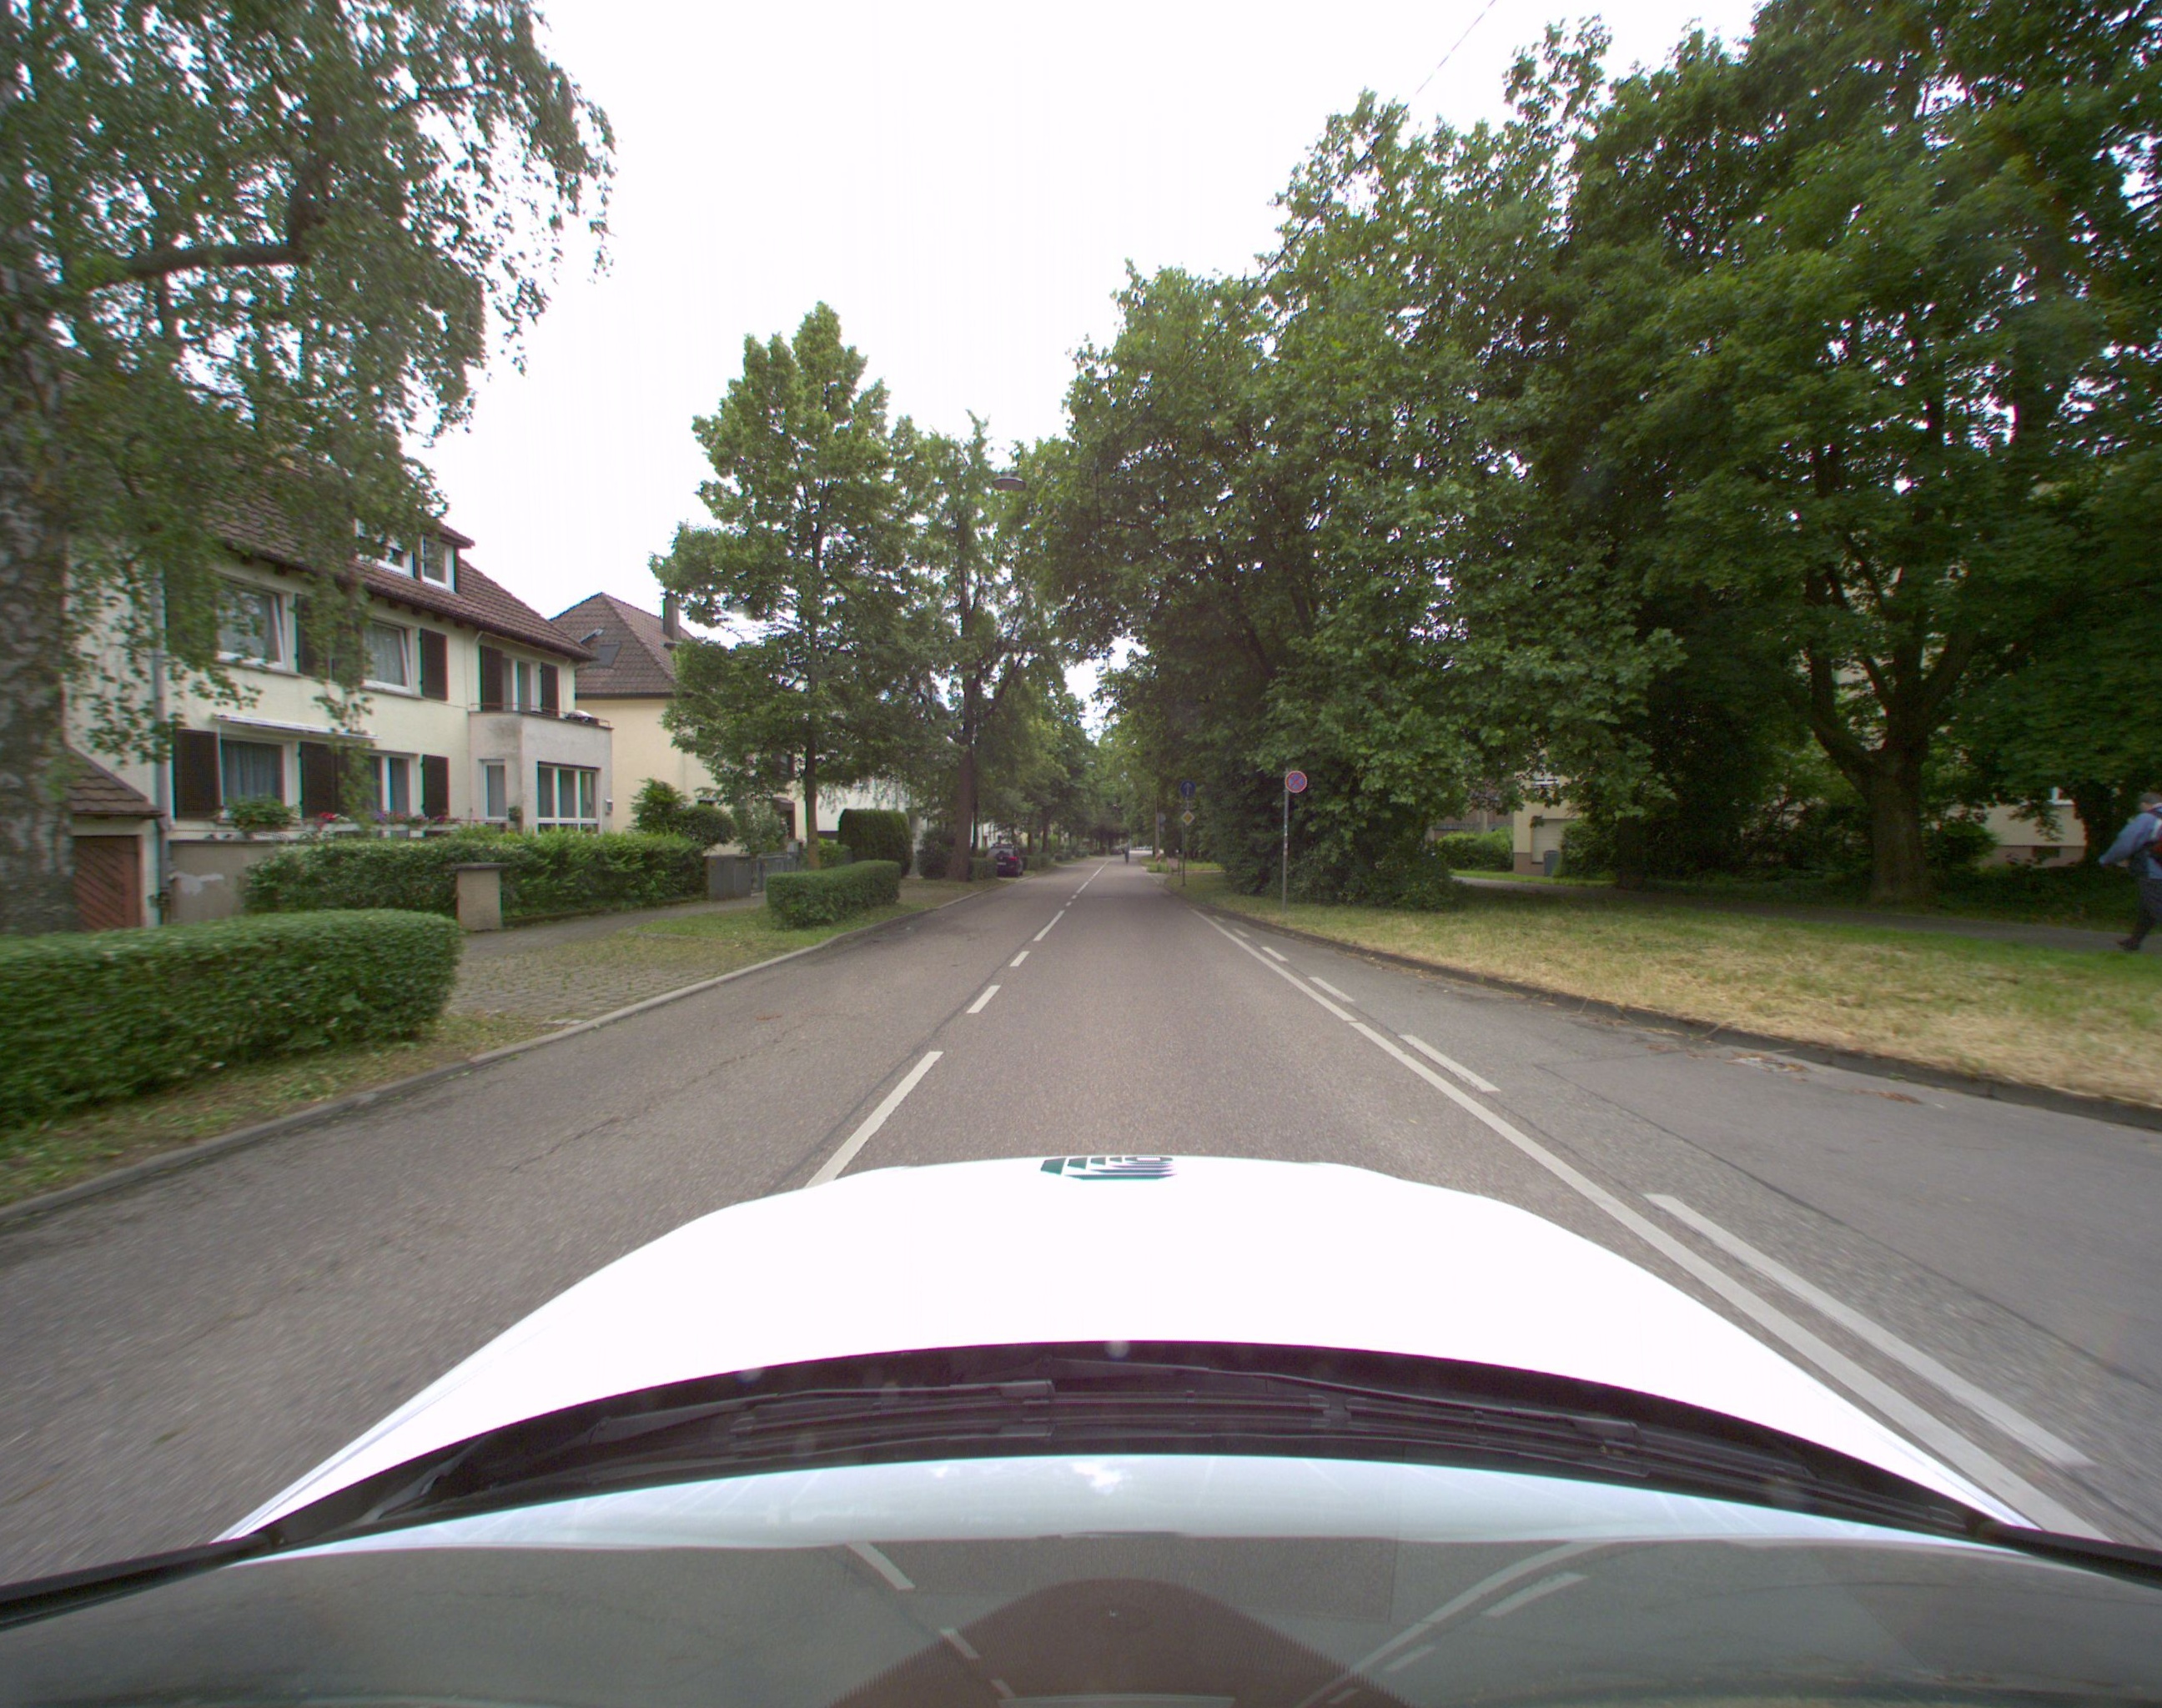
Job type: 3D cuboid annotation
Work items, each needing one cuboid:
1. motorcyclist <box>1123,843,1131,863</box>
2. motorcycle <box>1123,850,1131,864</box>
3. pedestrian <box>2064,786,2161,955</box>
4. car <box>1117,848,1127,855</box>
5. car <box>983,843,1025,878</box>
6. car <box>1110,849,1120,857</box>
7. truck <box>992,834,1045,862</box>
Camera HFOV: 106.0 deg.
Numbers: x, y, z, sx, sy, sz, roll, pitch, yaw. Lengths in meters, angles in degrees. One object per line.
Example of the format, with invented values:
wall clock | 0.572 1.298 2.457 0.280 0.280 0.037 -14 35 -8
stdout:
motorcyclist | 4.174 -0.078 73.673 0.669 1.761 0.640 1 0 7
motorcycle | 4.150 0.298 73.539 0.669 1.217 1.276 1 0 7
pedestrian | 11.748 0.170 8.990 0.756 1.795 0.893 0 0 -8
car | 9.129 -0.487 181.415 1.882 1.410 4.562 -1 -1 7
car | -4.016 0.299 43.198 1.819 1.754 4.452 1 0 0
car | 6.252 -0.205 150.771 1.786 1.472 4.422 -1 0 4
truck | -7.202 -0.664 93.752 5.772 3.131 2.520 0 0 2
